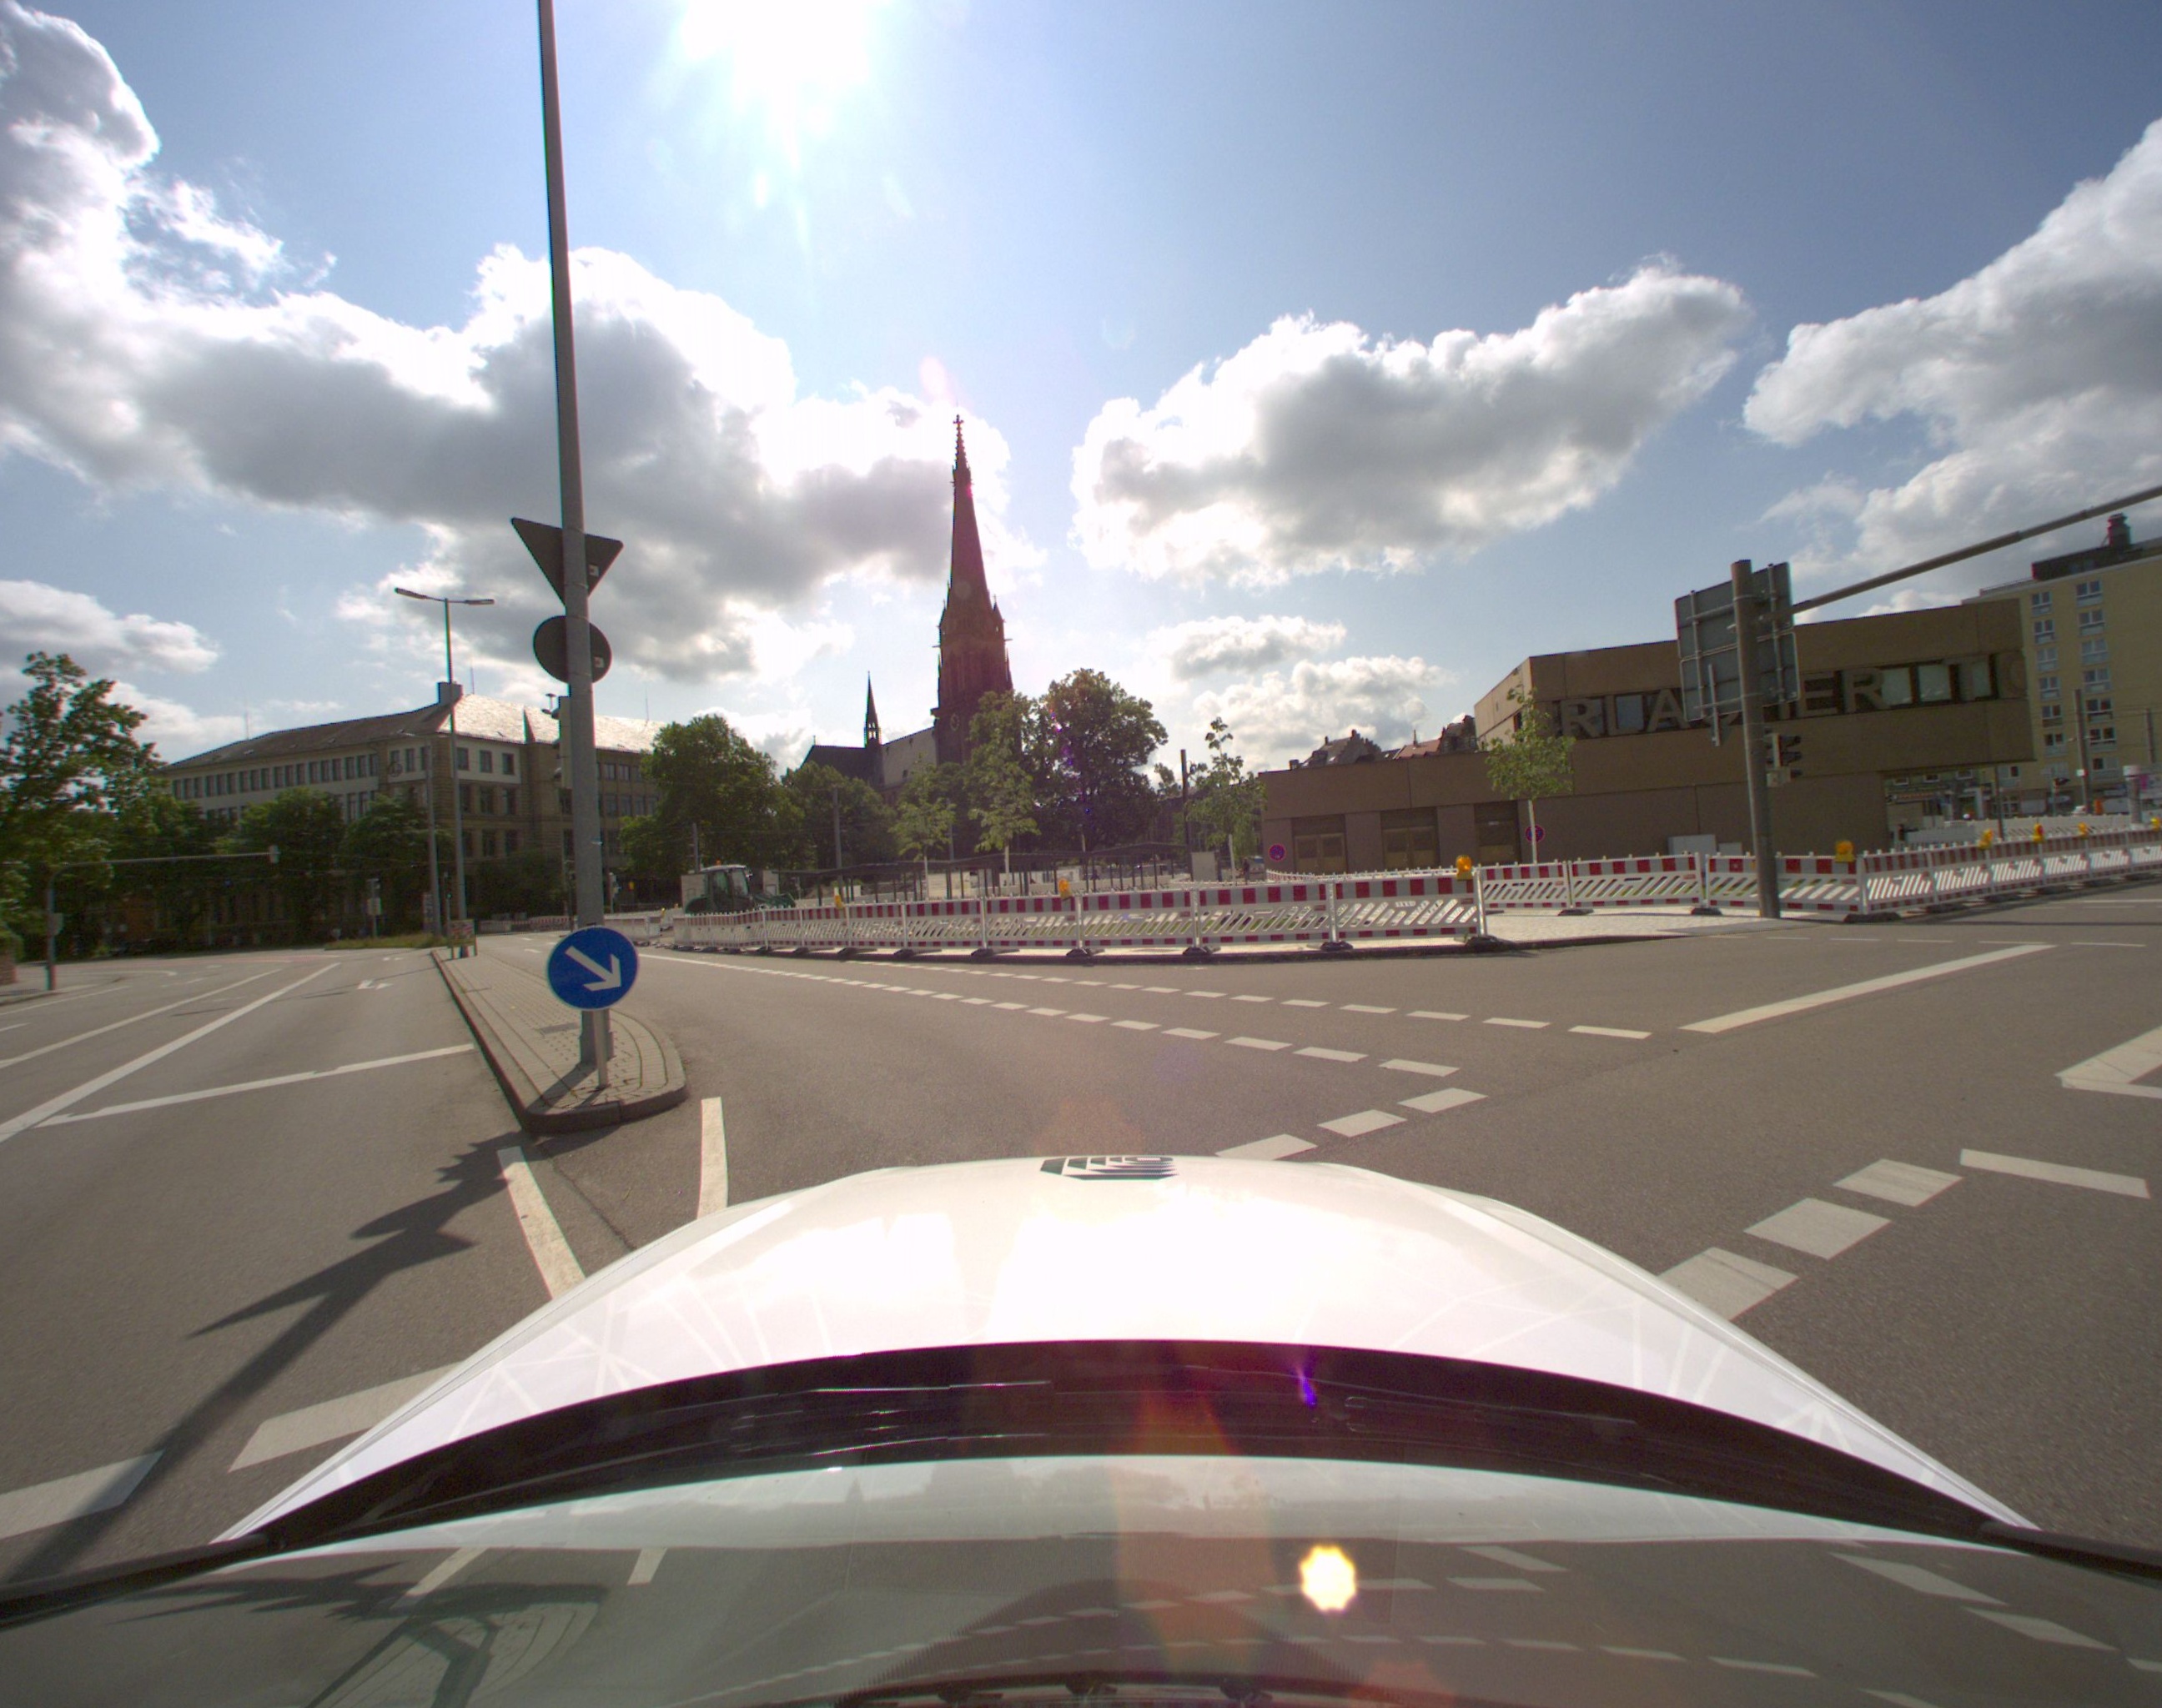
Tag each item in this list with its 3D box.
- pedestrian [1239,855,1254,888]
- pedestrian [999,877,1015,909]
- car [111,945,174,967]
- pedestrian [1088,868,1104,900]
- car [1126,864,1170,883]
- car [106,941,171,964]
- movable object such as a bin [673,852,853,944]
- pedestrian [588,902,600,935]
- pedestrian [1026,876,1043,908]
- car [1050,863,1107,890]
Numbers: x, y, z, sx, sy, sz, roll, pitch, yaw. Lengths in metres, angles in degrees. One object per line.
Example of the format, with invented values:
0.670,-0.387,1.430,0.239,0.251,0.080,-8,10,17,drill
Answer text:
10.197,1.069,50.139,0.695,2.014,0.558,-4,-1,15,pedestrian
-4.849,2.561,53.415,0.743,2.014,0.765,-4,-1,12,pedestrian
-94.625,10.242,82.172,1.780,1.684,4.024,-5,-2,44,car
0.985,1.948,52.945,0.755,2.014,0.753,-4,-1,13,pedestrian
7.264,2.087,88.247,4.318,1.793,1.793,-4,-1,24,car
-92.784,9.671,80.213,1.780,1.684,4.024,-5,-2,44,car
-11.473,1.560,29.625,5.495,2.885,2.292,-4,-1,7,movable object such as a bin
-28.189,3.741,47.143,0.501,1.850,0.524,-3,-2,-30,pedestrian
-3.009,2.460,52.422,0.755,2.014,0.753,-4,-1,13,pedestrian
-0.211,1.766,65.162,4.135,1.882,1.810,-4,-1,15,car
